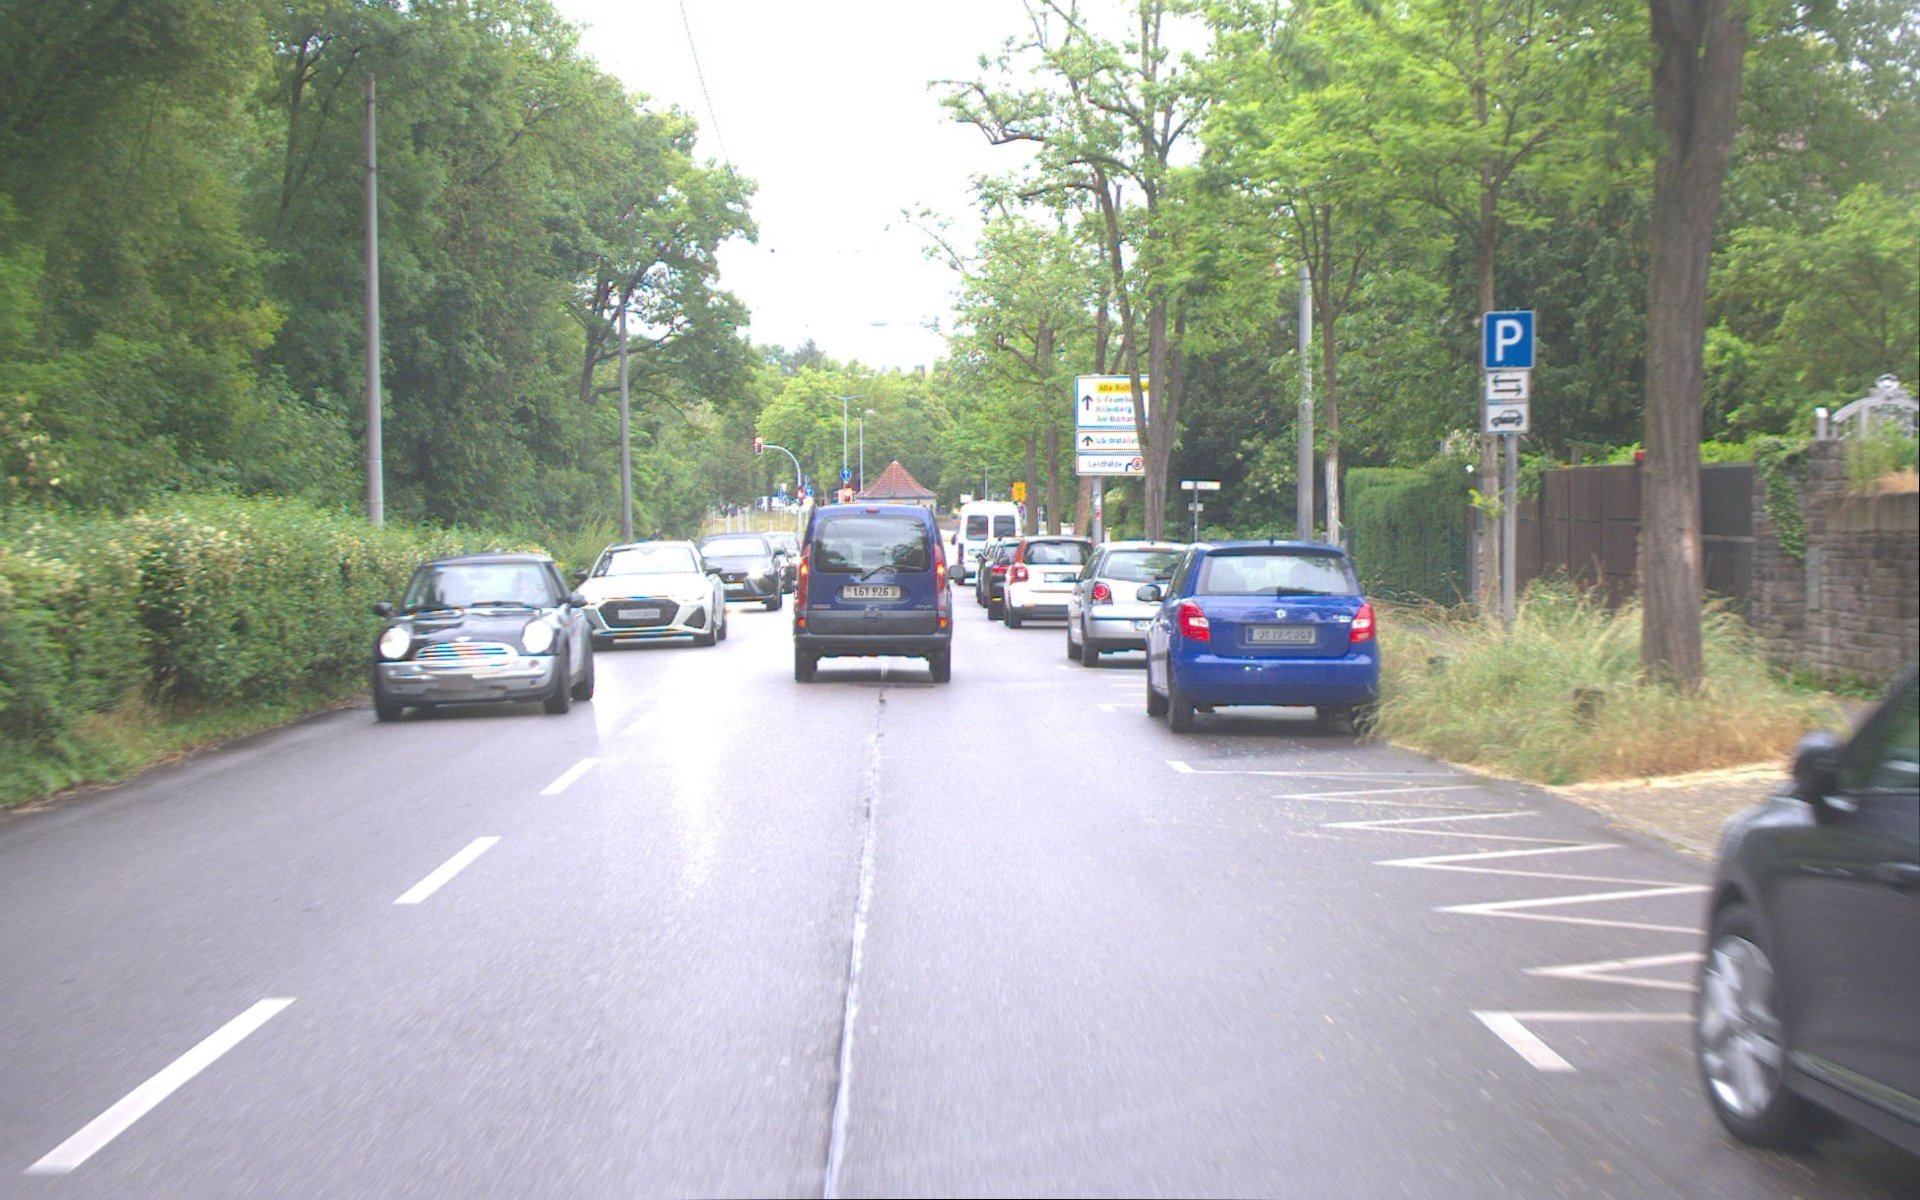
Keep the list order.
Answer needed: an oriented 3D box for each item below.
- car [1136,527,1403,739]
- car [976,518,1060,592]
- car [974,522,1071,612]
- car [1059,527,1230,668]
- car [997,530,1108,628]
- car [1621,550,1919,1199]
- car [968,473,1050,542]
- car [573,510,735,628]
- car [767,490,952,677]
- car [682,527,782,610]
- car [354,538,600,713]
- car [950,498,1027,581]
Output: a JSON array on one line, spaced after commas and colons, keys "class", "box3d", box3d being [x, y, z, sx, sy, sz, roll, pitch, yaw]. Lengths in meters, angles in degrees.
[{"class": "car", "box3d": [2.421, 0.203, 27.775, 1.721, 1.500, 4.051, 1, 2, -1]}, {"class": "car", "box3d": [1.238, -1.001, 74.485, 1.698, 1.519, 4.211, 1, 1, 0]}, {"class": "car", "box3d": [1.166, -0.636, 63.205, 1.698, 1.519, 3.868, 1, 2, 1]}, {"class": "car", "box3d": [2.138, -0.068, 40.753, 1.618, 1.503, 3.835, 1, 2, -3]}, {"class": "car", "box3d": [1.514, -0.372, 57.206, 1.632, 1.504, 2.958, 1, 2, -2]}, {"class": "car", "box3d": [2.776, 0.689, 7.295, 1.740, 1.474, 3.964, 1, 2, -3]}, {"class": "car", "box3d": [1.111, -2.144, 79.677, 1.698, 1.519, 3.868, 1, 1, -2]}, {"class": "car", "box3d": [-4.268, -0.472, 48.540, 1.856, 1.463, 4.447, -3, 2, 0]}, {"class": "car", "box3d": [-1.103, -0.221, 36.139, 1.766, 1.824, 3.543, 1, 2, -4]}, {"class": "car", "box3d": [-4.713, -0.679, 71.515, 1.804, 1.541, 4.432, -2, 2, -1]}, {"class": "car", "box3d": [-4.255, 0.179, 30.760, 1.686, 1.351, 3.724, -2, 2, -1]}, {"class": "car", "box3d": [0.854, -1.843, 104.822, 2.205, 2.441, 4.730, 0, 1, -1]}]
